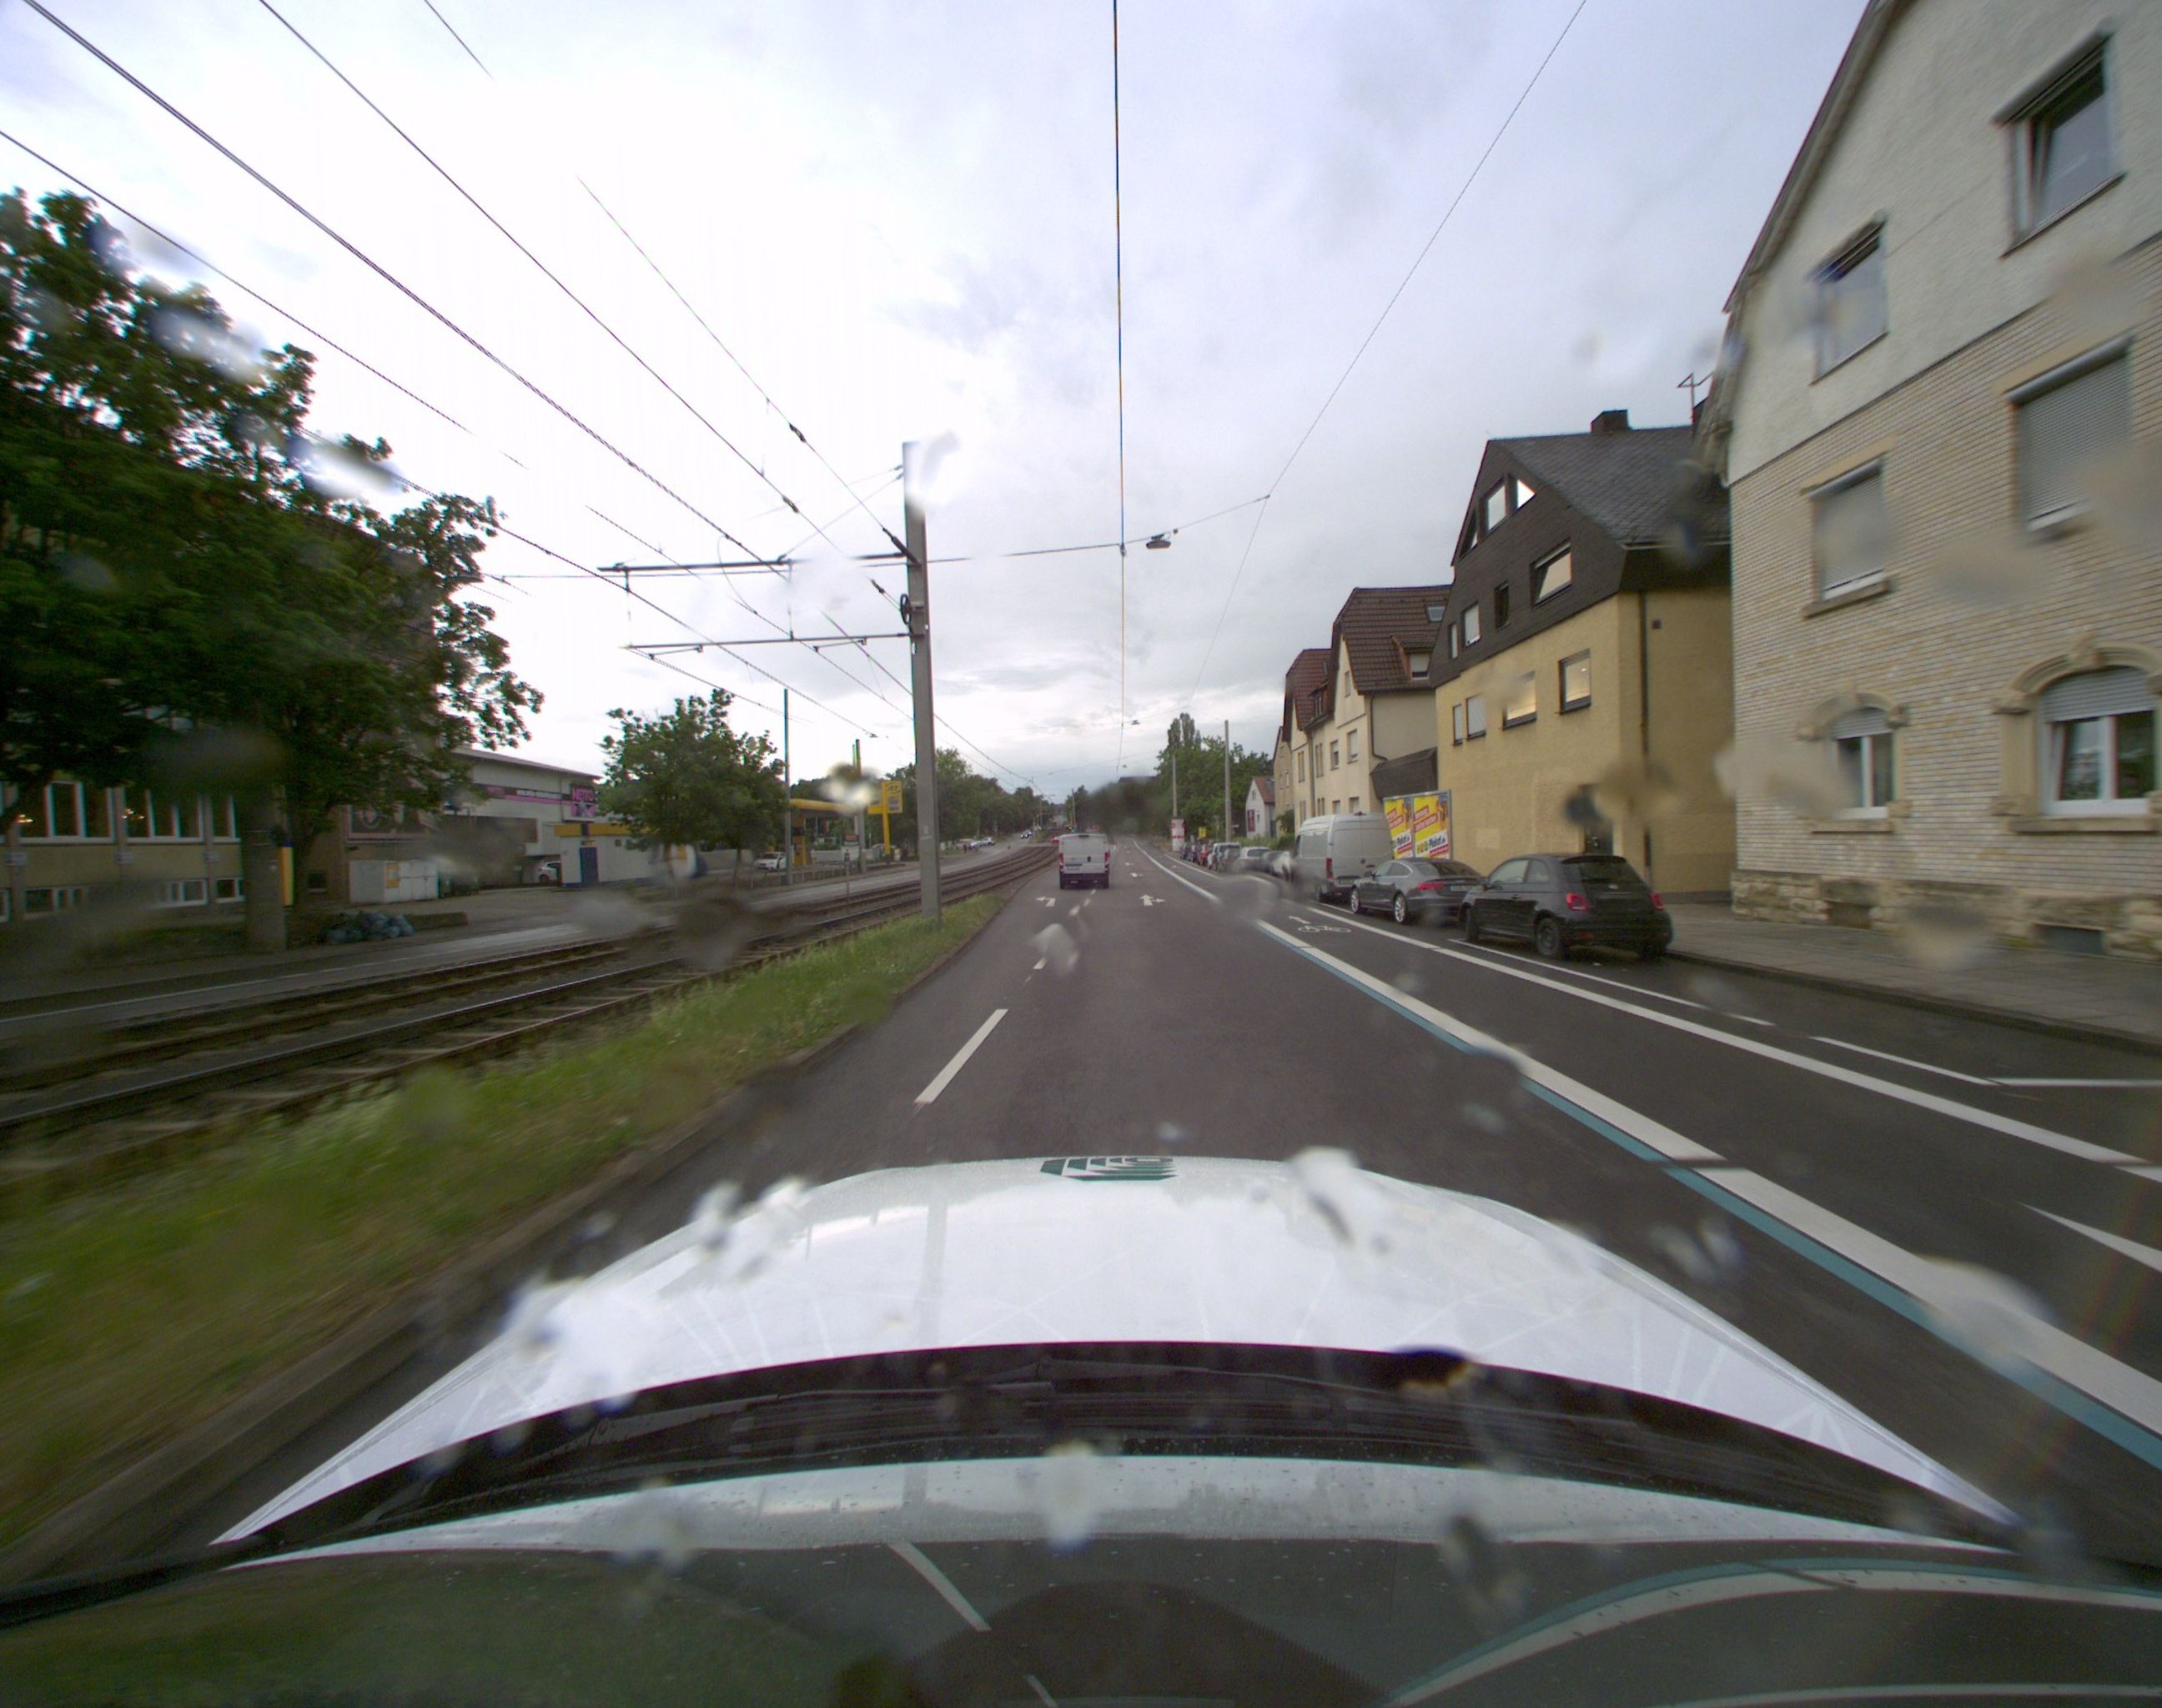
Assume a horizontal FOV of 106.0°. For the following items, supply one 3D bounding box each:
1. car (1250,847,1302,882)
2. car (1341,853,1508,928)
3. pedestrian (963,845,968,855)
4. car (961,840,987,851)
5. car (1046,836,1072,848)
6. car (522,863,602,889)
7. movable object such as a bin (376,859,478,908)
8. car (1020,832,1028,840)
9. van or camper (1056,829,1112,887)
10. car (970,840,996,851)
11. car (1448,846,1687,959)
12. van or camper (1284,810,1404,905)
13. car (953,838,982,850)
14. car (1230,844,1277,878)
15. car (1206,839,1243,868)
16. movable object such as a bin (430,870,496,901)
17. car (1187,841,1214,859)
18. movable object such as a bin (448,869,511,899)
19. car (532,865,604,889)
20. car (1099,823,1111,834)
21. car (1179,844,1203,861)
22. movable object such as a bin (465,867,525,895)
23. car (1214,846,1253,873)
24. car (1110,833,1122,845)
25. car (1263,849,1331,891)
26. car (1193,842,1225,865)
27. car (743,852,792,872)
[{"bbox_3d":[8.554,0.421,36.002,1.619,1.448,3.711,0,1,3],"label":"car"},{"bbox_3d":[7.502,0.720,18.317,1.783,1.406,4.551,0,1,-1],"label":"car"},{"bbox_3d":[-16.799,-0.613,118.846,0.612,1.475,0.640,-2,0,-11],"label":"pedestrian"},{"bbox_3d":[-20.070,-1.646,152.425,4.473,2.013,2.011,0,0,23],"label":"car"},{"bbox_3d":[-3.950,-2.153,145.533,4.470,2.013,2.012,0,0,40],"label":"car"},{"bbox_3d":[-30.970,1.287,48.700,3.781,1.453,1.540,0,0,-24],"label":"car"},{"bbox_3d":[-29.057,1.270,36.343,1.993,1.919,3.561,0,1,-9],"label":"movable object such as a bin"},{"bbox_3d":[-13.308,-4.187,190.363,1.684,1.711,3.777,0,0,1],"label":"car"},{"bbox_3d":[0.073,0.168,34.336,2.192,2.252,4.682,0,0,-1],"label":"van or camper"},{"bbox_3d":[-18.871,-1.655,156.230,4.473,2.013,2.011,0,0,23],"label":"car"},{"bbox_3d":[7.242,0.637,12.544,1.561,1.498,3.511,0,0,-1],"label":"car"},{"bbox_3d":[7.879,0.030,25.130,1.986,2.563,6.047,0,1,2],"label":"van or camper"},{"bbox_3d":[-19.780,-1.649,141.706,4.473,2.013,2.011,0,0,23],"label":"car"},{"bbox_3d":[8.704,0.308,41.310,1.640,1.615,4.107,0,1,2],"label":"car"},{"bbox_3d":[9.163,-0.069,52.372,1.741,1.807,3.955,-1,1,1],"label":"car"},{"bbox_3d":[-29.549,1.483,38.998,1.993,1.375,1.565,0,1,-9],"label":"movable object such as a bin"},{"bbox_3d":[10.271,-0.336,70.121,1.841,1.499,3.955,-1,0,1],"label":"car"},{"bbox_3d":[-29.991,1.487,40.682,1.993,1.375,1.565,0,1,-9],"label":"movable object such as a bin"},{"bbox_3d":[-33.439,1.465,53.184,3.781,1.479,1.563,0,0,-24],"label":"car"},{"bbox_3d":[4.518,-4.809,153.127,1.988,2.013,3.998,0,0,-1],"label":"car"},{"bbox_3d":[10.240,-0.158,76.041,1.841,1.499,3.955,-1,0,1],"label":"car"},{"bbox_3d":[-30.407,1.384,42.310,1.993,1.375,1.565,0,1,-9],"label":"movable object such as a bin"},{"bbox_3d":[8.771,0.297,46.989,1.640,1.445,3.957,0,1,2],"label":"car"},{"bbox_3d":[5.803,-2.481,134.644,1.986,2.013,4.002,0,0,2],"label":"car"},{"bbox_3d":[8.250,0.560,31.381,1.702,1.446,4.044,0,1,2],"label":"car"},{"bbox_3d":[9.728,-0.096,62.185,1.841,1.645,3.955,-1,1,1],"label":"car"},{"bbox_3d":[-22.914,0.573,59.663,1.987,1.442,4.000,0,0,0],"label":"car"}]
